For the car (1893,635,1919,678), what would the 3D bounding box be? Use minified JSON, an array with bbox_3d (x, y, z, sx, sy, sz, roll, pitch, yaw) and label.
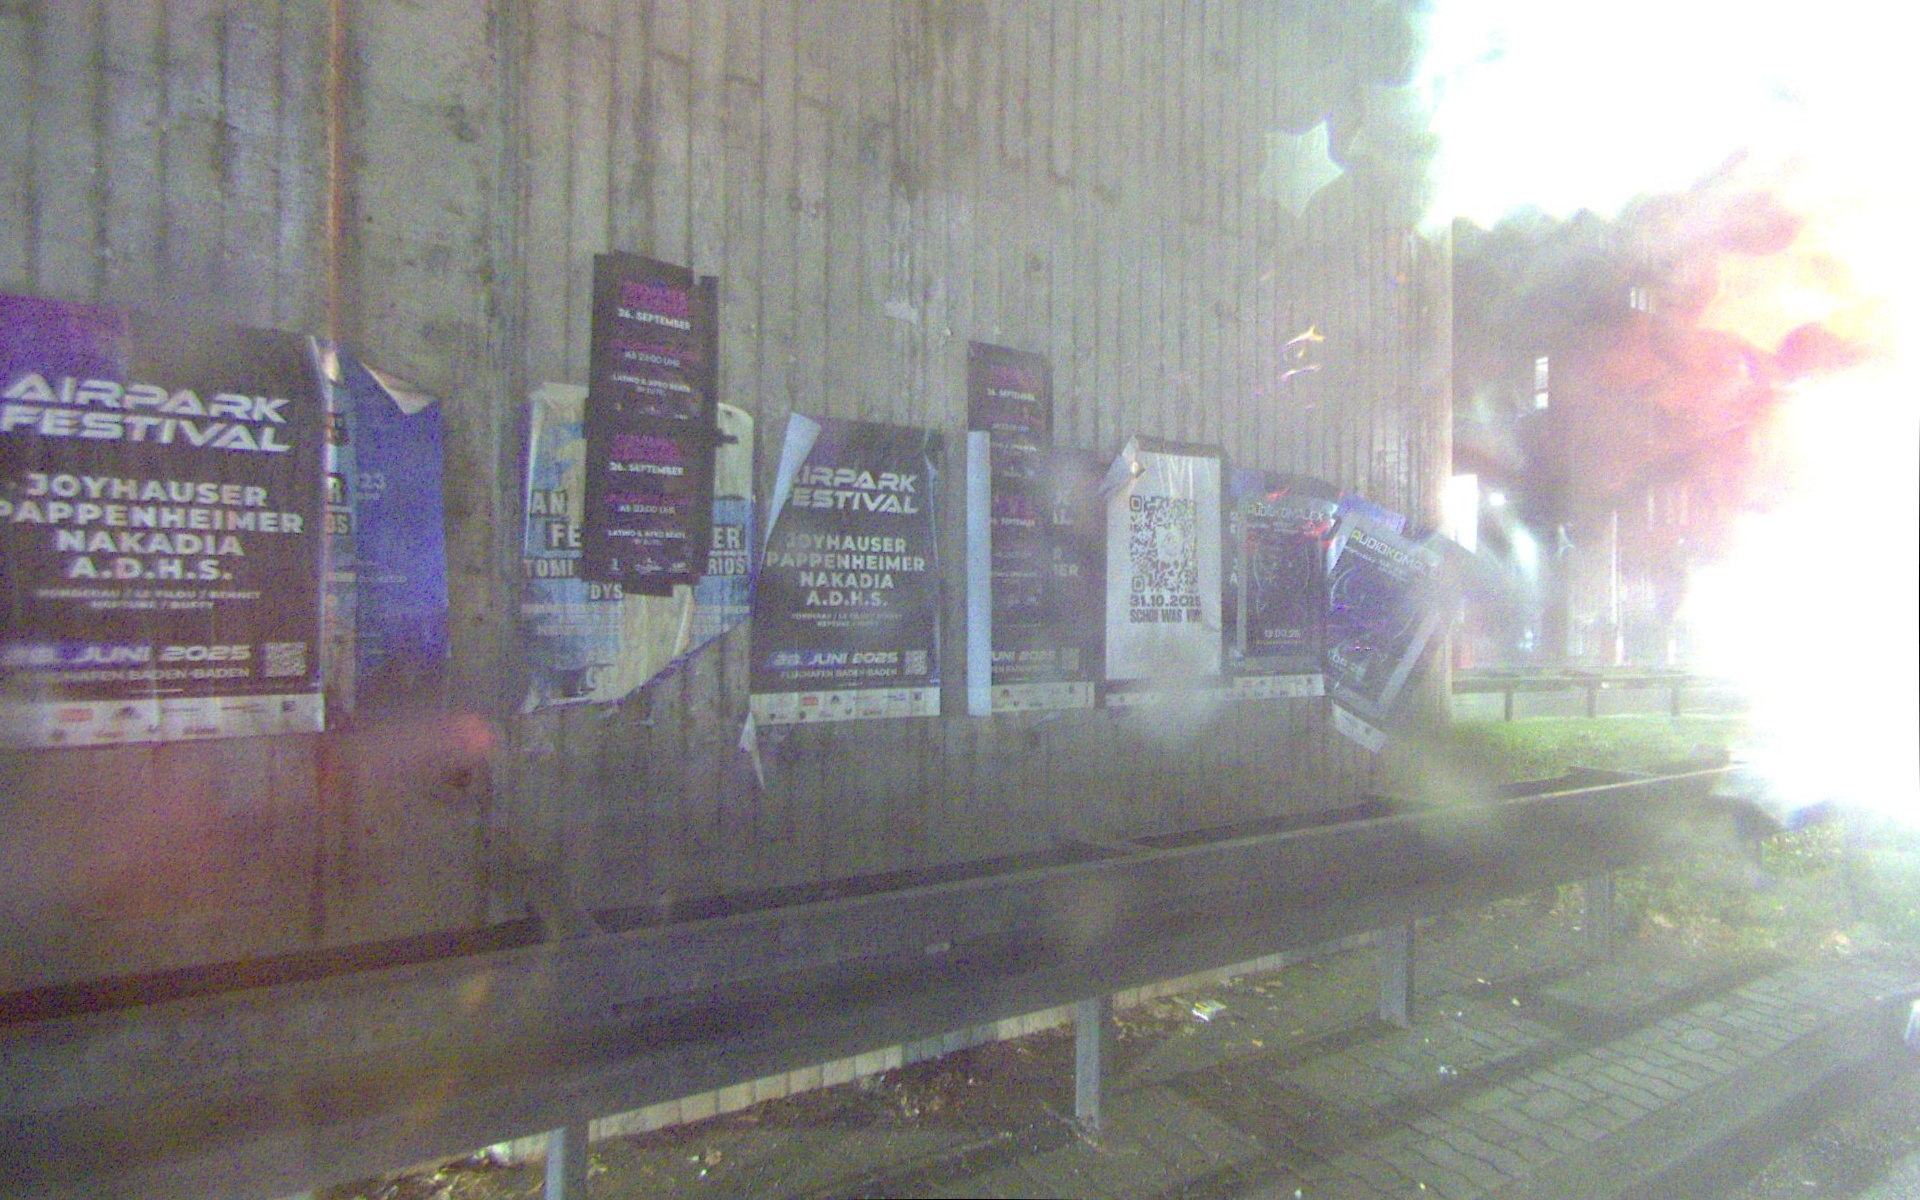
[{"bbox_3d":[36.920,2.143,37.659,3.953,1.585,1.792,2,-1,-30],"label":"car"}]
